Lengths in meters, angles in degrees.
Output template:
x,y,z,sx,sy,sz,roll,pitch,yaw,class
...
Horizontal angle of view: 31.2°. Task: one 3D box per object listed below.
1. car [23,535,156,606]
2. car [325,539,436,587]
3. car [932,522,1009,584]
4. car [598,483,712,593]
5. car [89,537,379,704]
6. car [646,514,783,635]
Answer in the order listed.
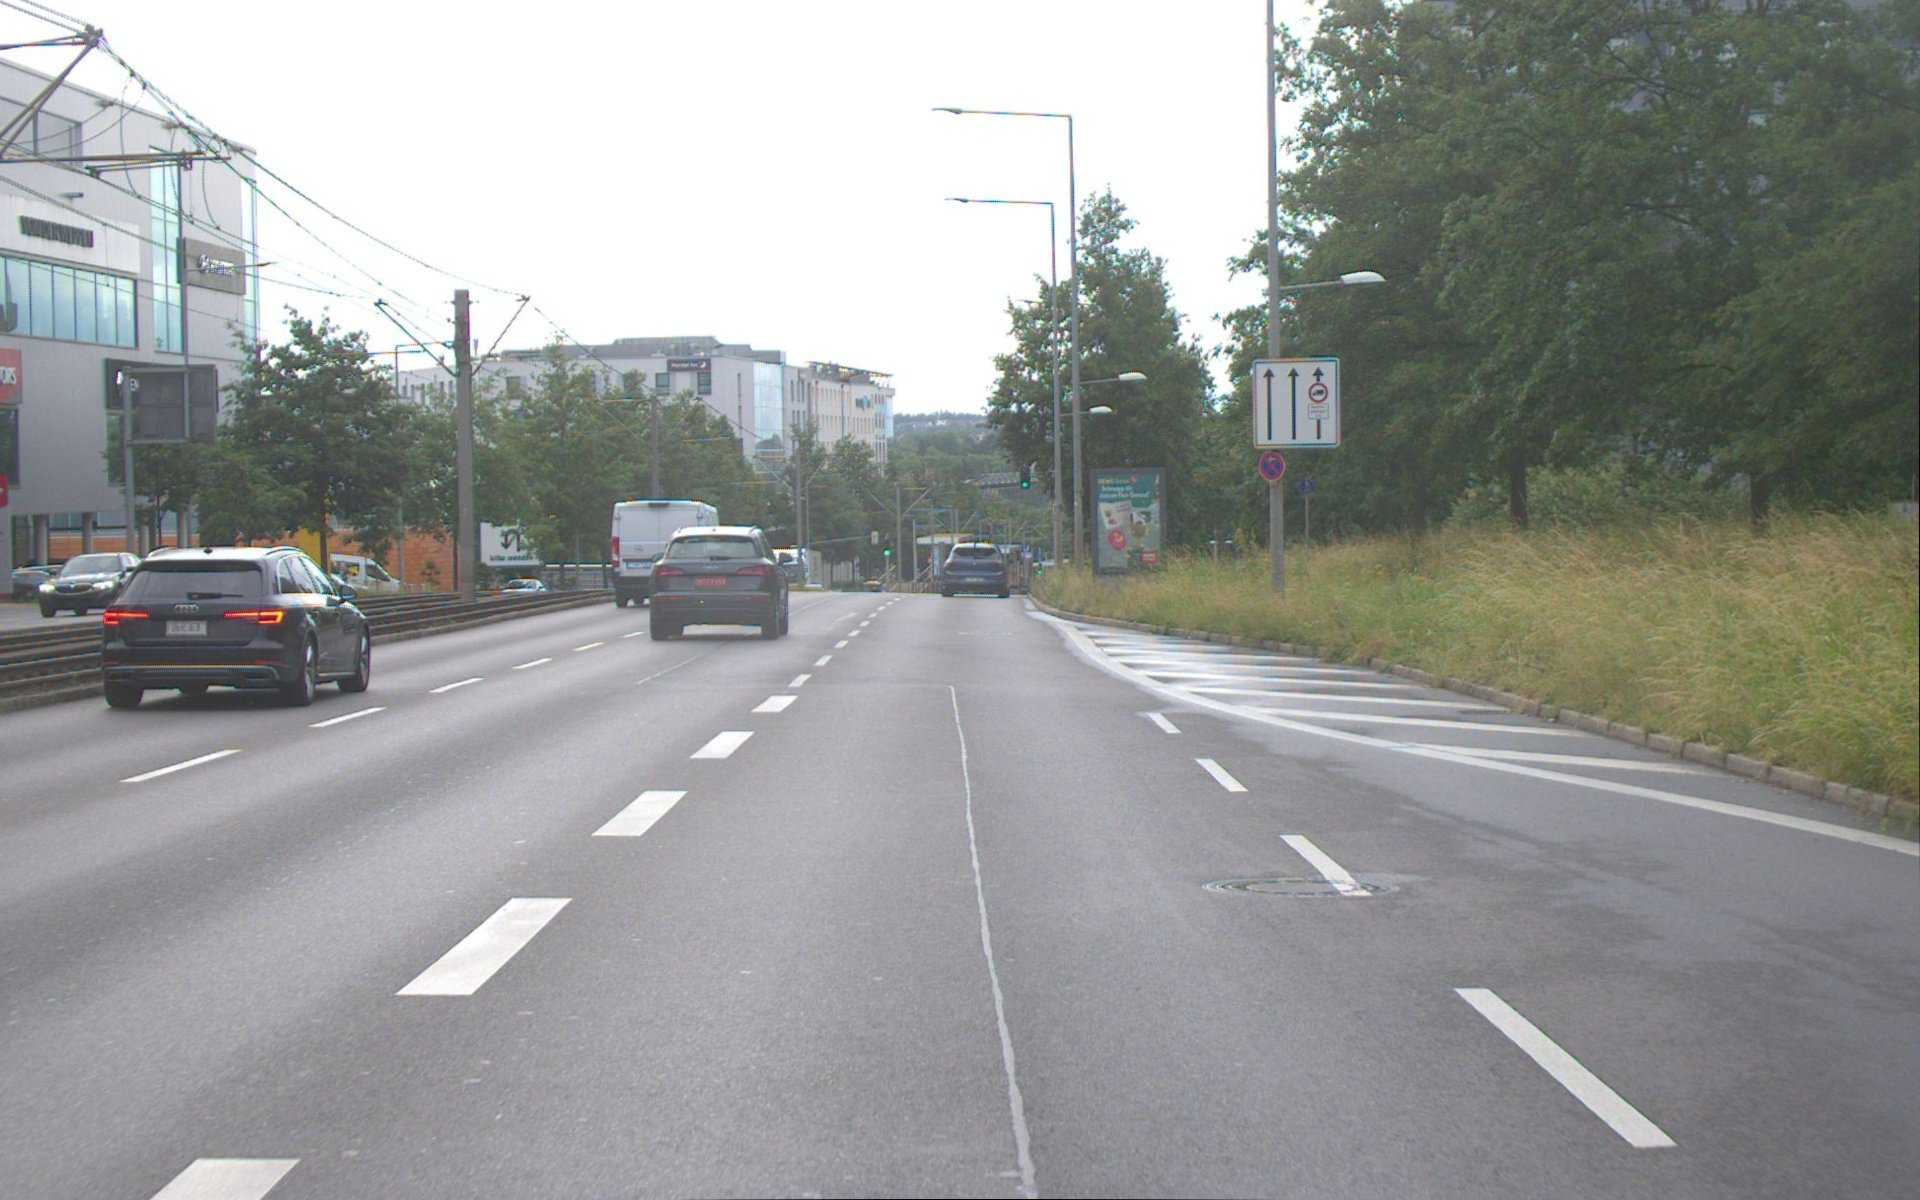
x,y,z,sx,sy,sz,roll,pitch,yaw,class
-20.438,-0.717,80.885,1.841,1.481,4.654,-4,1,0,car
-28.985,-1.835,172.151,5.302,2.305,2.020,1,-1,-4,car
0.264,-1.267,92.885,1.789,1.585,4.001,-1,1,-3,car
-6.528,-1.334,74.126,2.267,2.277,4.760,1,1,-3,car
-6.599,0.129,31.731,1.785,1.409,4.806,0,1,-2,car
-3.601,-0.406,50.805,1.922,1.704,4.099,1,1,-3,car
